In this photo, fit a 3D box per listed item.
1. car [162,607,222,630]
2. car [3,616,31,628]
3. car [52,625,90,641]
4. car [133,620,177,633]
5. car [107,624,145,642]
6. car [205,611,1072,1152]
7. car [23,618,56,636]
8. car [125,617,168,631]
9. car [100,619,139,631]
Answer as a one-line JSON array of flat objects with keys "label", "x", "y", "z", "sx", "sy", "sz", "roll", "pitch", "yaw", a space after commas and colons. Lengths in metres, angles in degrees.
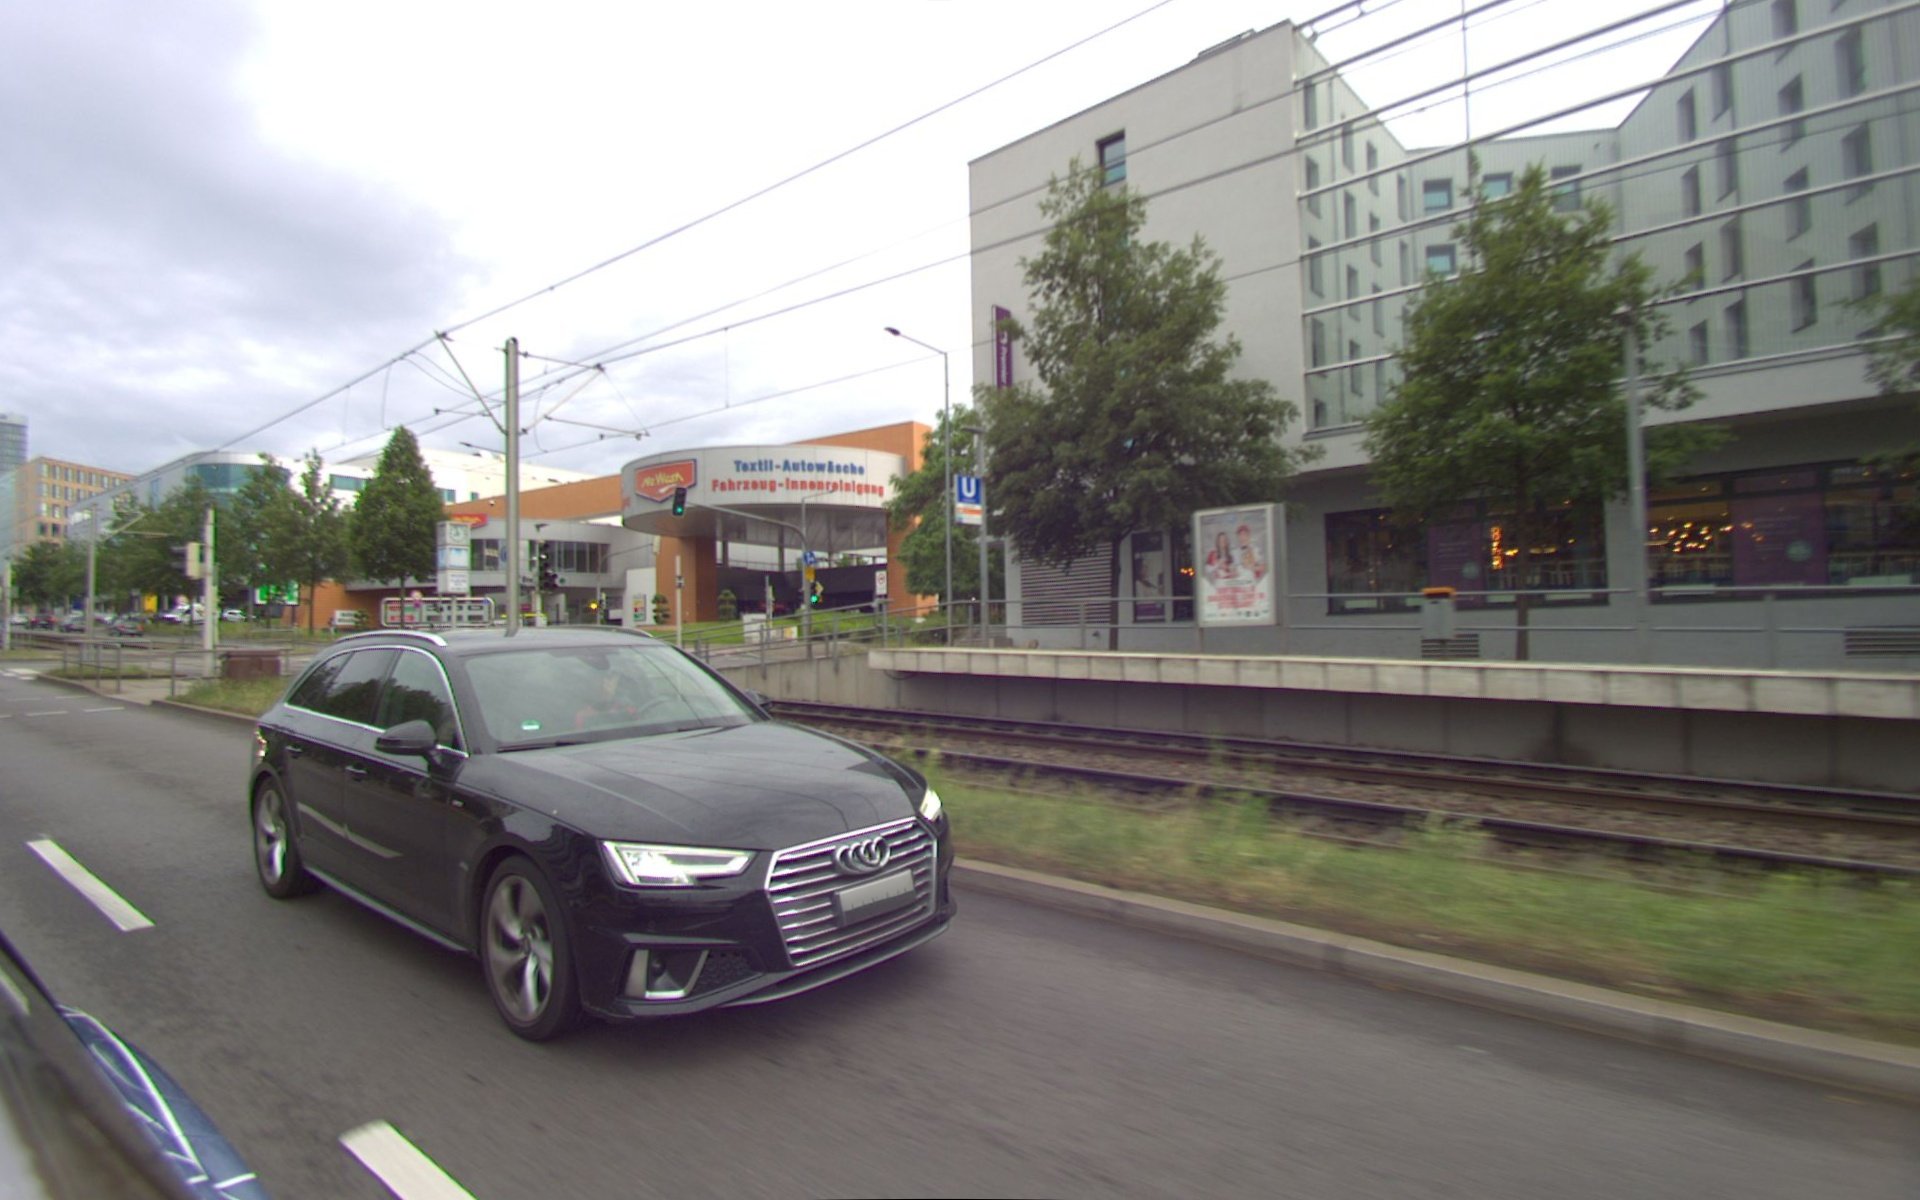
[{"label": "car", "x": -92.486, "y": 2.159, "z": 121.944, "sx": 2.264, "sy": 2.648, "sz": 5.444, "roll": -1, "pitch": 0, "yaw": 22}, {"label": "car", "x": -123.855, "y": 2.911, "z": 132.920, "sx": 4.701, "sy": 1.529, "sz": 1.974, "roll": 0, "pitch": 0, "yaw": 38}, {"label": "car", "x": -82.850, "y": 3.051, "z": 94.261, "sx": 4.382, "sy": 1.438, "sz": 1.835, "roll": -1, "pitch": -3, "yaw": 38}, {"label": "car", "x": -101.114, "y": 3.284, "z": 127.183, "sx": 1.891, "sy": 1.519, "sz": 3.957, "roll": 0, "pitch": 0, "yaw": 31}, {"label": "car", "x": -68.857, "y": 2.730, "z": 83.531, "sx": 3.776, "sy": 1.434, "sz": 1.711, "roll": -1, "pitch": -2, "yaw": 40}, {"label": "car", "x": -1.957, "y": 0.804, "z": 4.975, "sx": 4.824, "sy": 1.445, "sz": 1.772, "roll": -1, "pitch": -1, "yaw": 40}, {"label": "car", "x": -95.631, "y": 2.810, "z": 105.097, "sx": 4.385, "sy": 1.788, "sz": 1.973, "roll": -1, "pitch": -2, "yaw": 40}, {"label": "car", "x": -104.748, "y": 3.106, "z": 130.367, "sx": 1.916, "sy": 1.674, "sz": 3.956, "roll": -1, "pitch": 1, "yaw": 33}, {"label": "car", "x": -115.872, "y": 3.448, "z": 139.517, "sx": 1.811, "sy": 1.502, "sz": 3.815, "roll": -1, "pitch": -1, "yaw": 21}]
